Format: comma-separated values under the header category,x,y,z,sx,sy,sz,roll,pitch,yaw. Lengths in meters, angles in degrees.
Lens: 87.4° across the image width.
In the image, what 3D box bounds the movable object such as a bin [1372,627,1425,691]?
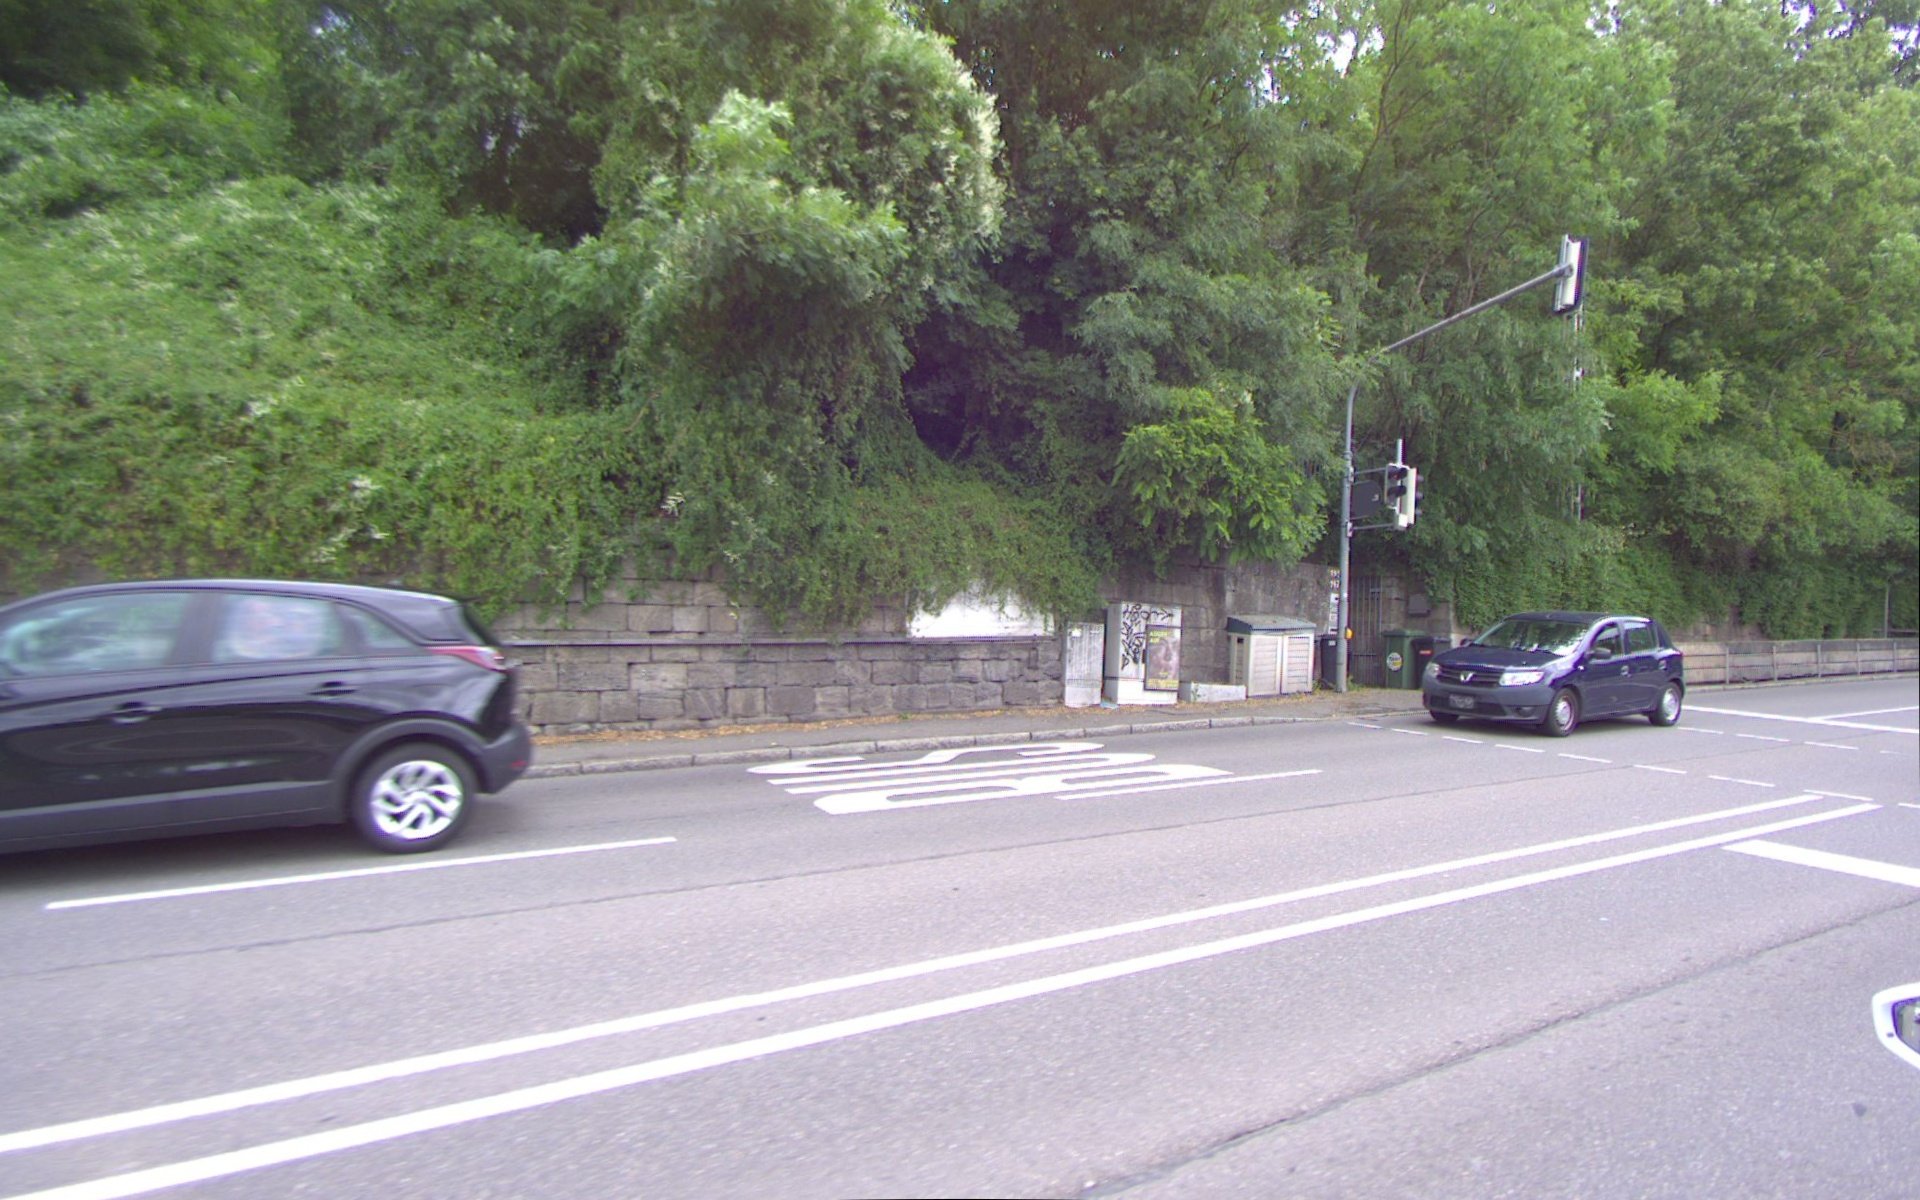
category,x,y,z,sx,sy,sz,roll,pitch,yaw
movable object such as a bin,7.789,1.043,17.848,0.550,1.081,0.638,1,1,-31

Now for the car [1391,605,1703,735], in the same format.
category,x,y,z,sx,sy,sz,roll,pitch,yaw
car,7.964,0.873,13.562,4.199,1.453,1.803,2,1,-31

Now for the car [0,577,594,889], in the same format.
category,x,y,z,sx,sy,sz,roll,pitch,yaw
car,-4.533,0.646,6.011,4.162,1.502,1.772,1,1,-31

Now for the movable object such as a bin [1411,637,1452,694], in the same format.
category,x,y,z,sx,sy,sz,roll,pitch,yaw
movable object such as a bin,8.167,1.127,17.400,0.473,0.963,0.425,1,1,-31
